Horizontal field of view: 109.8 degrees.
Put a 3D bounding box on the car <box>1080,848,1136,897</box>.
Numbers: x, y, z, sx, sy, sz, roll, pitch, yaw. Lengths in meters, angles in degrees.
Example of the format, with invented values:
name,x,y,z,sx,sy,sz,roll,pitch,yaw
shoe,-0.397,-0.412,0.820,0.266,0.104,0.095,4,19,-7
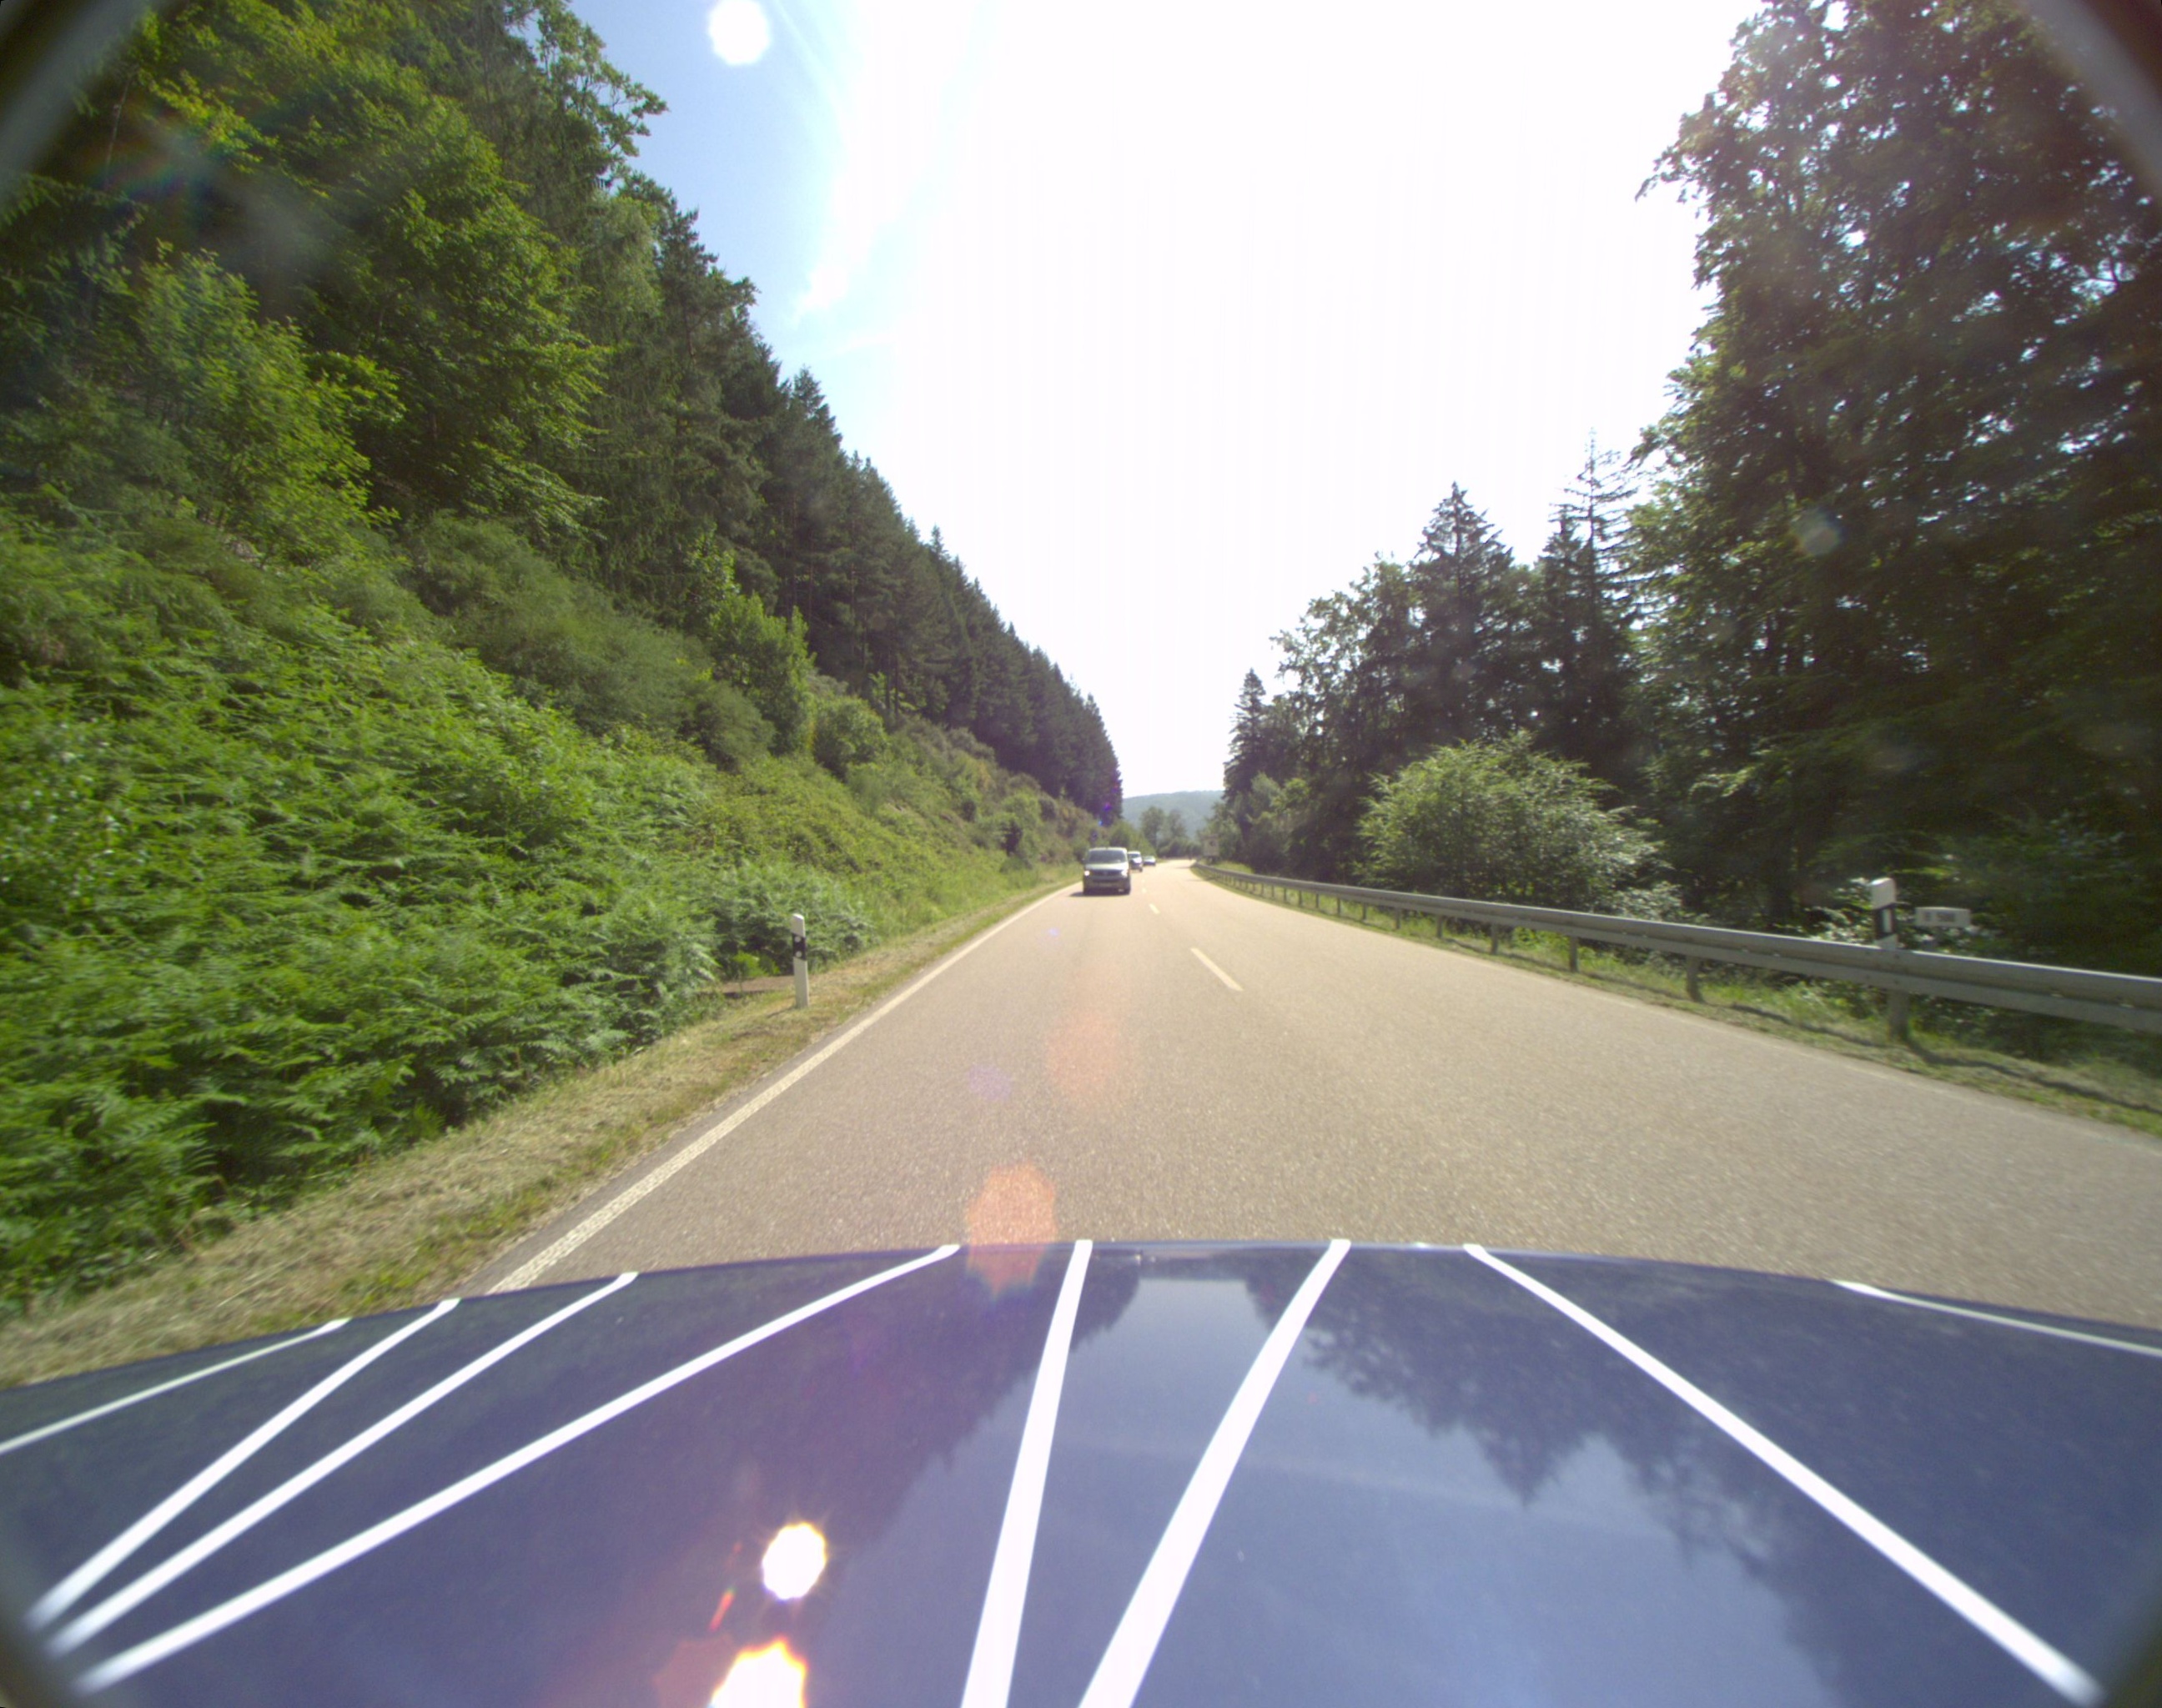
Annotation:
name,x,y,z,sx,sy,sz,roll,pitch,yaw
car,1.213,0.726,31.919,1.989,1.899,4.762,-1,0,6

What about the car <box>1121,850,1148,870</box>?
name,x,y,z,sx,sy,sz,roll,pitch,yaw
car,5.083,0.577,71.873,2.136,1.824,4.725,-1,0,9

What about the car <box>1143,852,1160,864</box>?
name,x,y,z,sx,sy,sz,roll,pitch,yaw
car,10.005,0.560,107.516,1.997,1.718,4.003,-2,0,9

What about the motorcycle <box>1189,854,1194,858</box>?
name,x,y,z,sx,sy,sz,roll,pitch,yaw
motorcycle,27.323,0.527,187.361,0.986,1.065,1.965,-1,0,13

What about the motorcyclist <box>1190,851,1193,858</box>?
name,x,y,z,sx,sy,sz,roll,pitch,yaw
motorcyclist,27.291,0.108,187.352,0.659,1.504,0.934,-1,0,12
